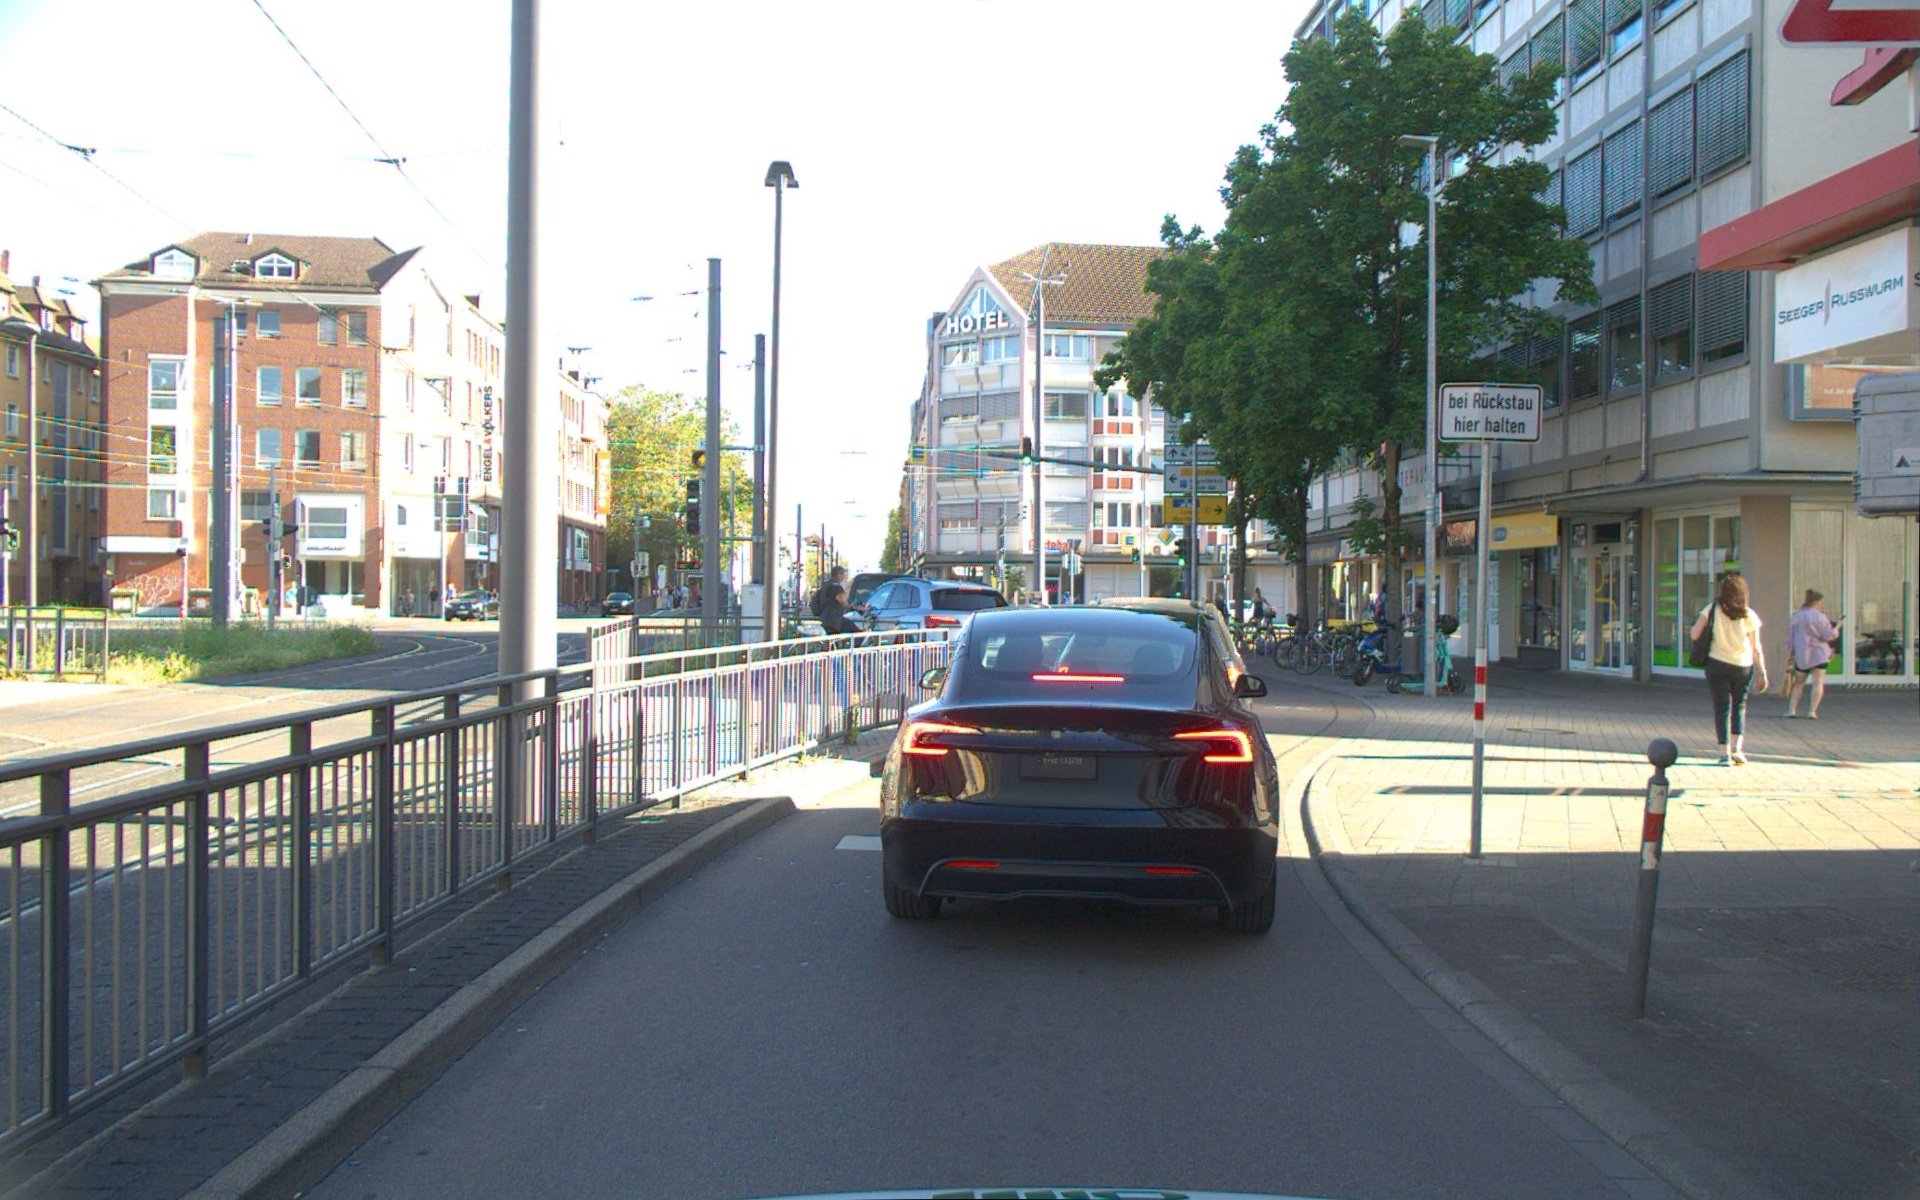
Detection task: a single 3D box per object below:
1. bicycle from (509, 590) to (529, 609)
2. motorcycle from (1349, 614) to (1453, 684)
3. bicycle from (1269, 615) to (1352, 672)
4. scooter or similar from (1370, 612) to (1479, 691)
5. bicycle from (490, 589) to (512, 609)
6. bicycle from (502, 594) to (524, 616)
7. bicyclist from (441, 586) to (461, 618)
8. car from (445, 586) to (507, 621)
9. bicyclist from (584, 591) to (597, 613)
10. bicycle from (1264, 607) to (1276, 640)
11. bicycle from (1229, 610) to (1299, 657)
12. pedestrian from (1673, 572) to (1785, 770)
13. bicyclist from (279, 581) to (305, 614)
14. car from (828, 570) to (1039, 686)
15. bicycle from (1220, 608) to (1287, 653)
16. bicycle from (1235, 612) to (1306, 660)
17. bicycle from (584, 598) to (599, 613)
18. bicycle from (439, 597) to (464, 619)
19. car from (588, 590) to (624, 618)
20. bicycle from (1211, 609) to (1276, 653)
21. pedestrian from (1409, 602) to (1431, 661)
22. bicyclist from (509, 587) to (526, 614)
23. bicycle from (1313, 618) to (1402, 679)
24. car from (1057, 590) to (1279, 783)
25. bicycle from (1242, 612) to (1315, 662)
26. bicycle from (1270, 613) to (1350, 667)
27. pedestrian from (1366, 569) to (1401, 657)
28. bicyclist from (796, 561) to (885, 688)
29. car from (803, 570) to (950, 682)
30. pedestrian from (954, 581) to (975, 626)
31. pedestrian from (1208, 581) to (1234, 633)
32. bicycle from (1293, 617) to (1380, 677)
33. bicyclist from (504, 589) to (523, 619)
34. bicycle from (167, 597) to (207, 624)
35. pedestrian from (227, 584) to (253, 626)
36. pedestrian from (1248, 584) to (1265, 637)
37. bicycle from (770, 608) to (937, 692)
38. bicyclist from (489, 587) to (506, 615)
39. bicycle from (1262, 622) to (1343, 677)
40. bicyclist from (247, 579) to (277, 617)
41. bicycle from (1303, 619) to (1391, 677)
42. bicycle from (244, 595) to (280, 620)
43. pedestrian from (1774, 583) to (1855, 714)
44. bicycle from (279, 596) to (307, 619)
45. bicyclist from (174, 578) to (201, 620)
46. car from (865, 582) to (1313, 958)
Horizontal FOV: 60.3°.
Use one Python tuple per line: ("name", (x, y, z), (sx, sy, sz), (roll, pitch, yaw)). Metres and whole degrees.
("bicycle", (-25.873, -0.013, 97.021), (0.518, 1.107, 2.225), (0, 0, 1))
("motorcycle", (7.809, 0.859, 29.316), (1.673, 1.194, 0.541), (1, -1, -3))
("bicycle", (7.095, 0.883, 33.485), (1.620, 1.118, 0.349), (1, -1, -11))
("scooter or similar", (7.662, 0.836, 27.284), (1.610, 1.236, 0.644), (1, -1, 30))
("bicycle", (-25.819, -0.049, 93.101), (0.518, 1.107, 2.284), (1, 0, 1))
("bicycle", (-23.587, 0.276, 87.254), (0.449, 1.112, 2.202), (1, 0, 3))
("bicyclist", (-26.033, 0.110, 84.616), (0.767, 1.590, 0.746), (1, -1, 1))
("car", (-22.487, 0.184, 76.999), (1.675, 1.553, 4.036), (1, 0, 0))
("bicyclist", (-27.001, 0.120, 120.940), (0.767, 1.590, 0.746), (1, -1, 1))
("bicycle", (10.179, 0.770, 54.354), (0.325, 1.052, 1.257), (1, 0, 9))
("bicycle", (7.426, 0.815, 40.432), (1.616, 1.118, 0.350), (1, -1, 1))
("pedestrian", (7.226, 0.637, 15.583), (0.895, 1.783, 1.038), (0, 0, 22))
("bicyclist", (-29.749, -0.111, 73.630), (0.689, 1.496, 0.973), (0, 0, 7))
("car", (-0.515, 0.422, 26.470), (1.859, 1.691, 4.125), (1, 0, -25))
("bicycle", (7.361, 0.771, 41.477), (1.616, 1.118, 0.350), (0, 0, 1))
("bicycle", (7.398, 0.862, 39.418), (1.616, 1.118, 0.350), (1, -1, 1))
("bicycle", (-26.998, 0.420, 121.154), (0.518, 1.107, 2.225), (1, 0, 1))
("bicycle", (-26.065, 0.397, 84.731), (0.526, 1.107, 2.225), (1, 0, 1))
("car", (-22.531, 0.267, 105.433), (1.663, 1.762, 3.704), (1, 0, -3))
("bicycle", (7.291, 0.796, 42.569), (1.616, 1.118, 0.350), (1, -1, 1))
("pedestrian", (10.782, 0.730, 38.778), (0.381, 1.367, 0.513), (1, -1, 1))
("bicyclist", (-25.807, 0.038, 96.369), (0.767, 1.590, 0.746), (0, 0, 1))
("bicycle", (7.478, 0.914, 31.118), (1.620, 1.118, 0.349), (1, -1, -11))
("car", (1.824, 0.666, 15.012), (1.714, 1.480, 4.003), (1, 0, 6))
("bicycle", (7.382, 0.861, 38.391), (1.616, 1.118, 0.350), (1, -1, 1))
("bicycle", (7.498, 0.856, 35.440), (1.616, 1.118, 0.350), (1, -1, 1))
("pedestrian", (9.980, 0.302, 39.001), (0.648, 2.049, 0.579), (1, -1, 1))
("bicyclist", (-1.601, 0.322, 22.136), (0.753, 1.657, 0.964), (1, -1, -39))
("car", (-1.716, 0.482, 32.530), (1.962, 2.049, 3.981), (0, 0, -17))
("pedestrian", (0.201, 0.167, 76.157), (0.902, 2.049, 0.972), (1, -1, -1))
("pedestrian", (8.587, 0.239, 54.451), (0.685, 1.691, 0.777), (1, -1, -1))
("bicycle", (7.278, 0.905, 31.960), (1.620, 1.118, 0.349), (1, -1, -11))
("bicyclist", (-23.550, 0.216, 87.261), (0.769, 1.554, 0.589), (1, -1, 3))
("bicycle", (-28.235, 0.383, 60.460), (0.437, 0.988, 2.246), (1, 0, -1))
("pedestrian", (-31.852, 0.215, 73.158), (0.767, 1.852, 0.746), (1, -1, 1))
("pedestrian", (9.803, 0.347, 54.720), (0.515, 1.740, 0.404), (1, -1, 11))
("bicycle", (-1.412, 0.665, 22.367), (2.313, 1.072, 0.622), (1, -1, -39))
("bicyclist", (-25.846, 0.048, 92.417), (0.767, 1.590, 0.746), (0, 0, 1))
("bicycle", (7.137, 1.039, 34.458), (1.620, 1.118, 0.349), (1, -1, -11))
("bicyclist", (-28.416, -0.091, 67.314), (0.880, 1.529, 0.696), (1, -1, -1))
("bicycle", (7.382, 0.920, 31.538), (1.620, 1.079, 0.349), (1, -1, -11))
("bicycle", (-28.410, 0.319, 67.319), (0.513, 0.988, 2.246), (1, 0, -1))
("pedestrian", (11.329, 0.631, 21.959), (0.871, 1.696, 0.808), (1, -1, 23))
("bicycle", (-29.701, 0.326, 73.670), (0.396, 0.998, 1.695), (1, 0, 7))
("bicyclist", (-28.241, -0.035, 60.490), (0.620, 1.529, 0.696), (1, -1, -1))
("car", (0.661, 0.693, 8.704), (1.791, 1.481, 4.002), (1, 0, 4))
